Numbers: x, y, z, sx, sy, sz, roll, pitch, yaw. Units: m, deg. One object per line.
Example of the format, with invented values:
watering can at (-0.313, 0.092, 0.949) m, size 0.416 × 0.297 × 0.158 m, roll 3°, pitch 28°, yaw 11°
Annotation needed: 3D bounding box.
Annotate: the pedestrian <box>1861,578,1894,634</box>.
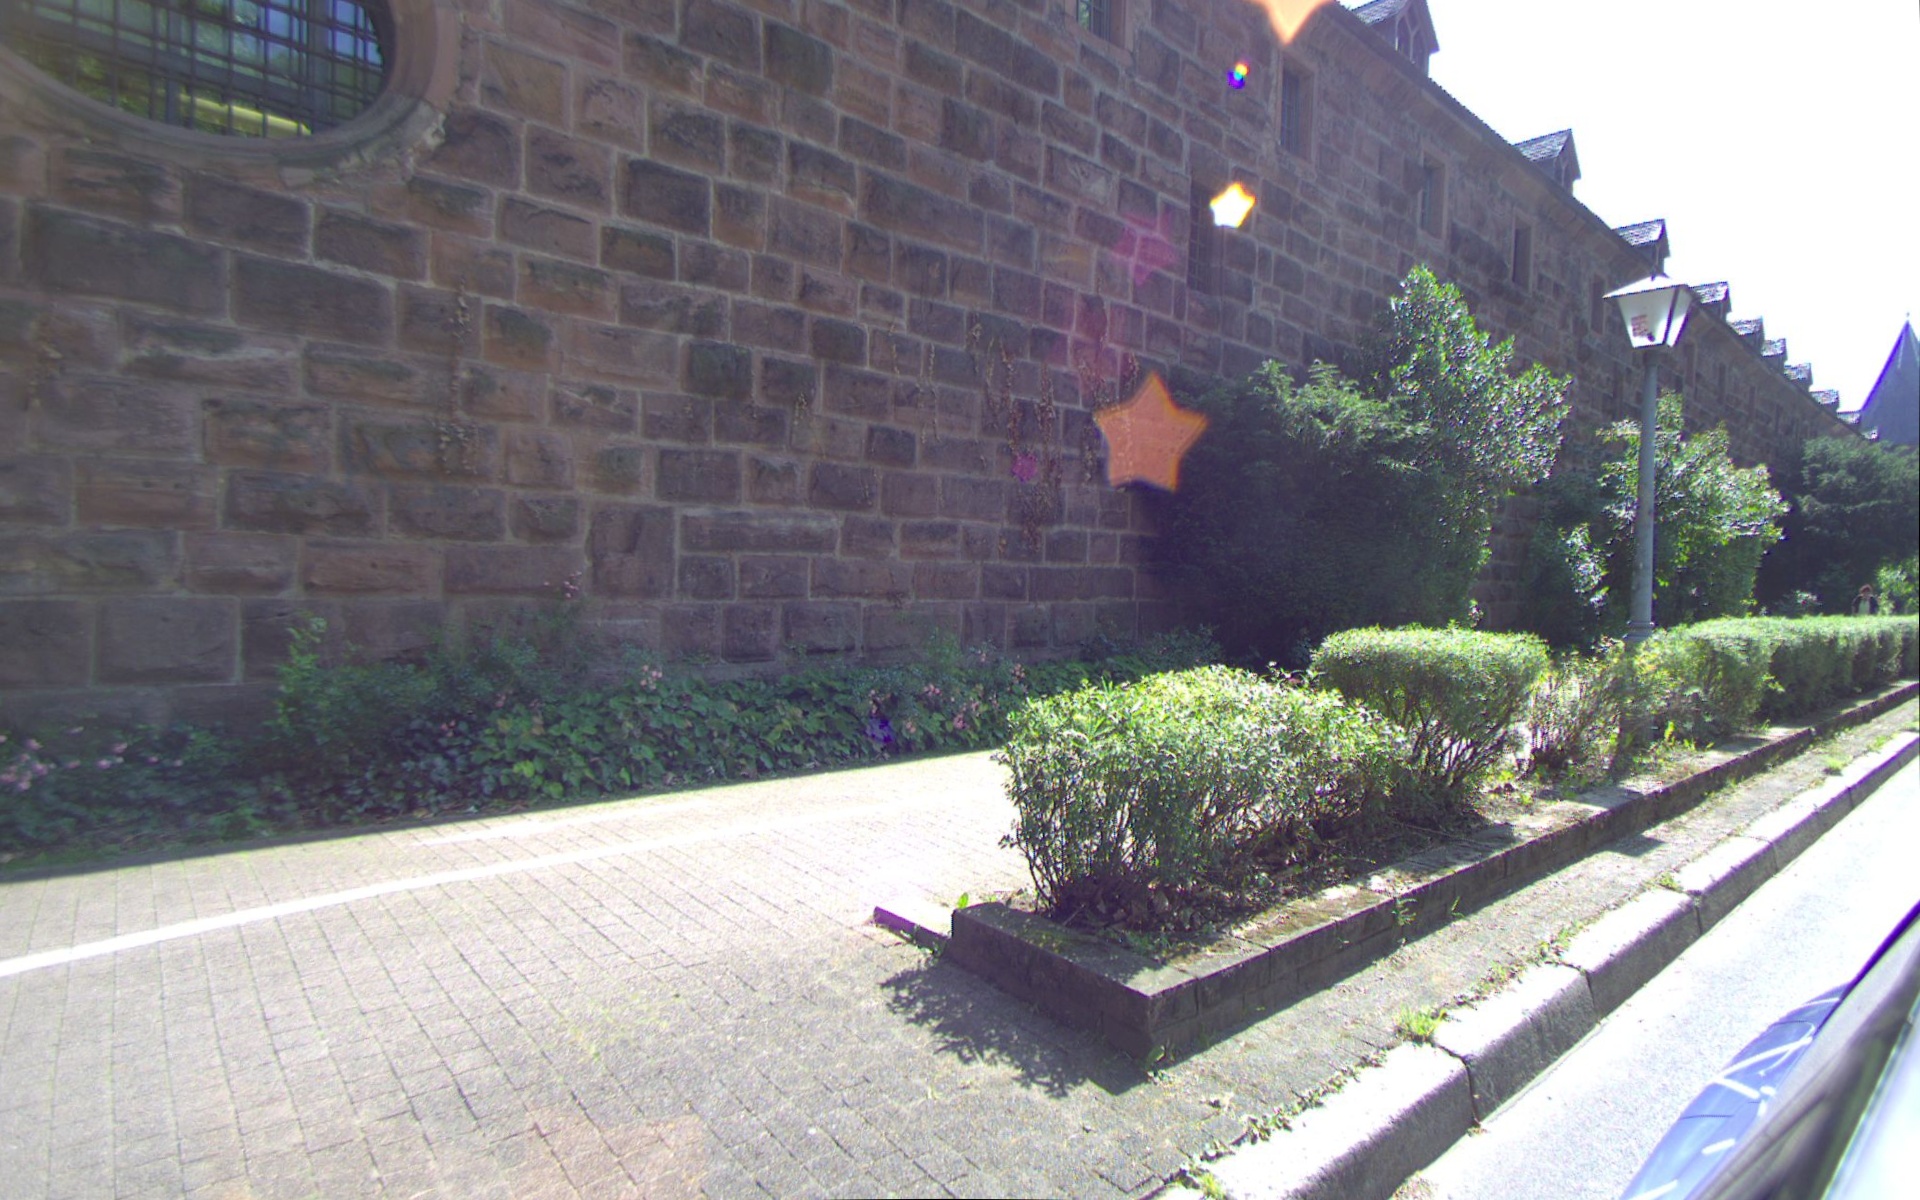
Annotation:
pedestrian at (26.419, 0.162, 29.151) m, size 0.554 × 1.583 × 0.642 m, roll 0°, pitch 0°, yaw -41°
